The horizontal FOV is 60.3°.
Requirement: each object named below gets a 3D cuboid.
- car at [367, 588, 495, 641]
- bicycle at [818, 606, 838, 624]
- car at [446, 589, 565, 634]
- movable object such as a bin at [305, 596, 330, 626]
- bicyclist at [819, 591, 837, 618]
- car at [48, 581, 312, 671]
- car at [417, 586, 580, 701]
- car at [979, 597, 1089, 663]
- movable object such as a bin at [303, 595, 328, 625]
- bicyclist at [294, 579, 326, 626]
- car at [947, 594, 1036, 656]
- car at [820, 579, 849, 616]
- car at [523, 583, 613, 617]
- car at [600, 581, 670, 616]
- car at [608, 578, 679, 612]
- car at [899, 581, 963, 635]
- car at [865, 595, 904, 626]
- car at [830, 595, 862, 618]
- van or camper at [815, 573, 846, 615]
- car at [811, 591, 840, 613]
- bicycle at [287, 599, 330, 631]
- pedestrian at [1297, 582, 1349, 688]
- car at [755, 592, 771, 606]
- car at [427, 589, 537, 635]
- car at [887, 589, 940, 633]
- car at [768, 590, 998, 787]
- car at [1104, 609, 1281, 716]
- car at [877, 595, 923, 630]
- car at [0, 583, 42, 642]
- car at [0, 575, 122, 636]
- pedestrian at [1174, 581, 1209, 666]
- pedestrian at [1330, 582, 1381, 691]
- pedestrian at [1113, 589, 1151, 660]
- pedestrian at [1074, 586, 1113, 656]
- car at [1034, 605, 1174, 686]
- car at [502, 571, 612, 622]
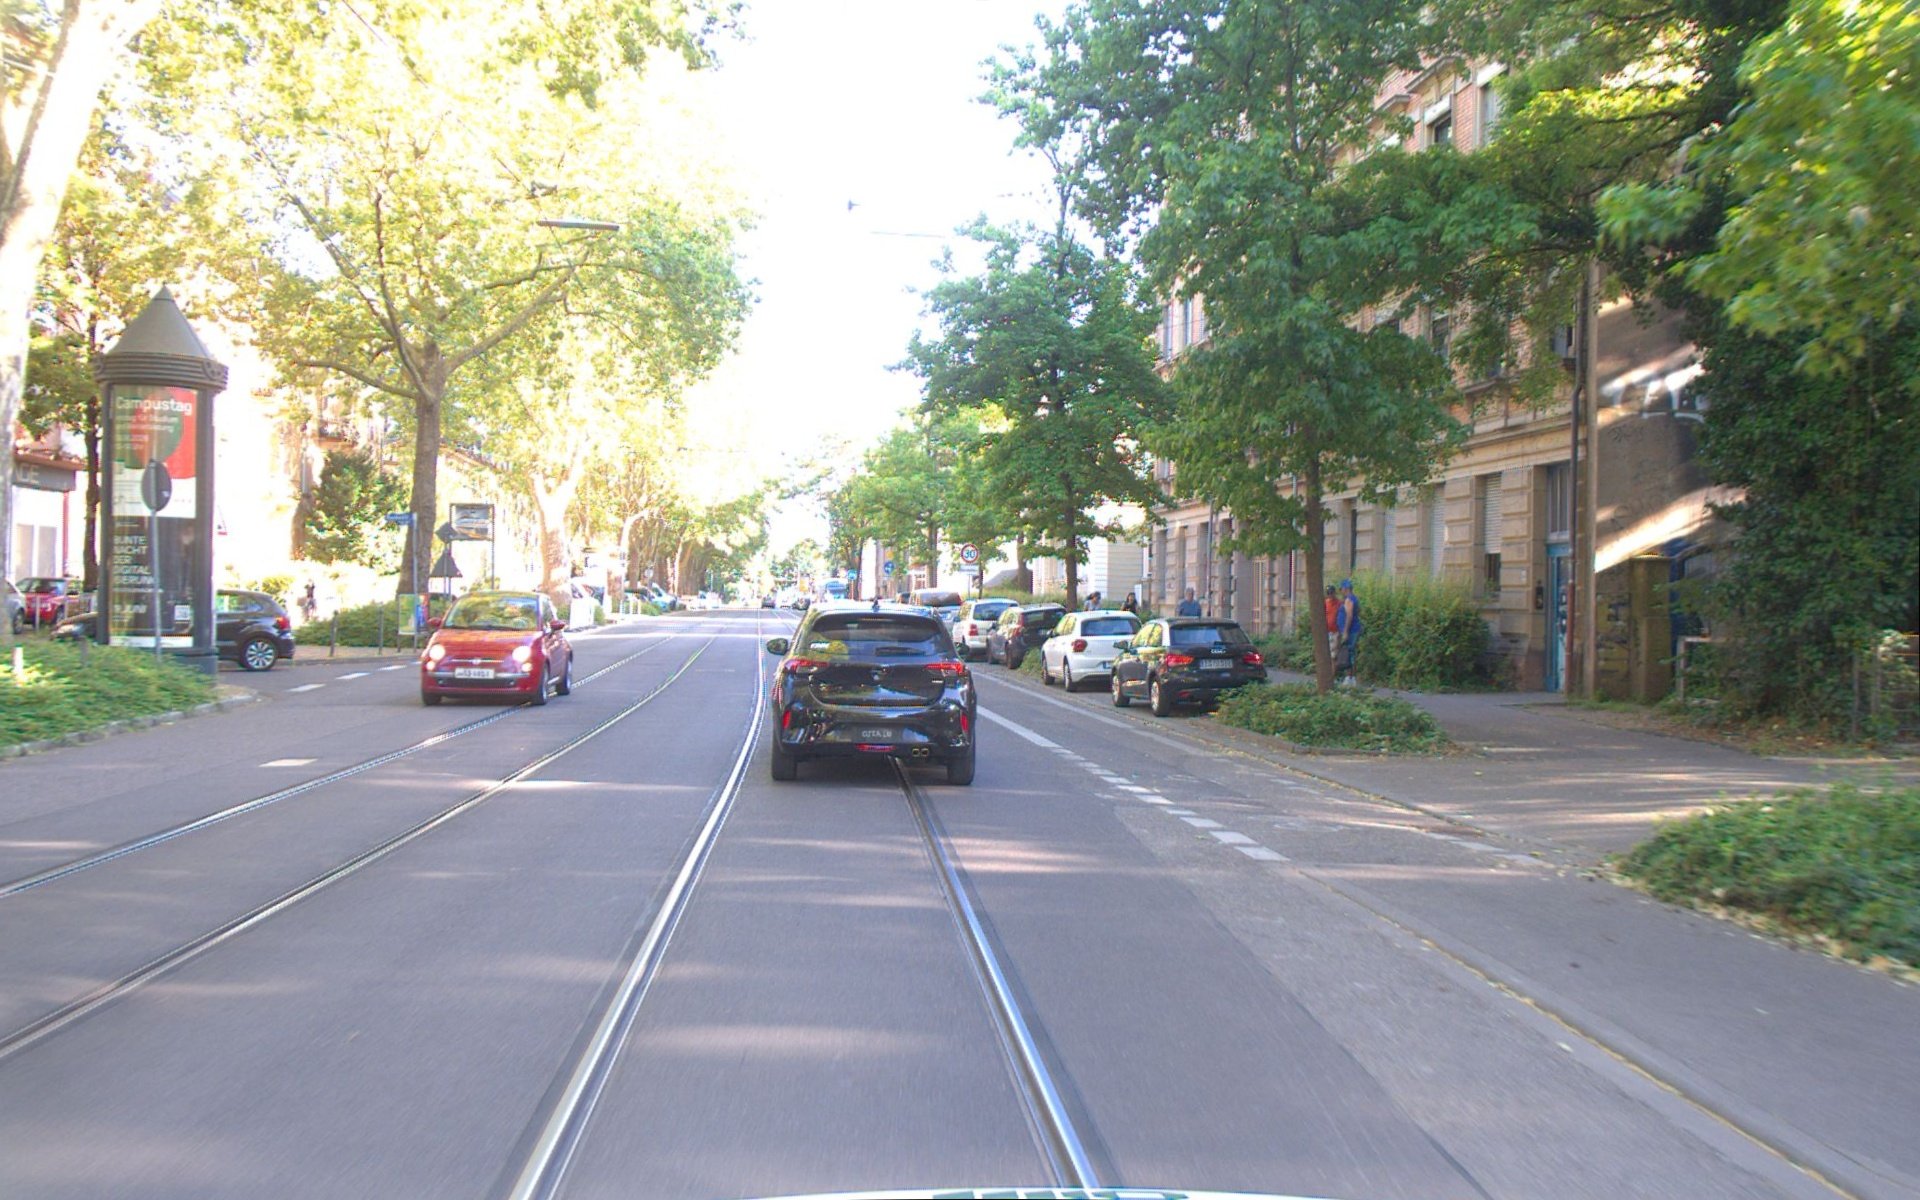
[{"bbox_3d":[-16.027,0.432,50.255,3.353,1.490,1.695,2,0,-5],"label":"car"},{"bbox_3d":[-7.765,0.887,97.094,0.950,1.016,2.578,2,0,-8],"label":"bicycle"},{"bbox_3d":[-16.591,0.416,60.551,3.912,1.490,1.851,2,0,-8],"label":"car"},{"bbox_3d":[-24.303,0.408,62.585,0.709,1.129,0.560,2,-1,-6],"label":"movable object such as a bin"},{"bbox_3d":[-7.751,0.271,97.075,0.940,1.525,1.092,2,0,-9],"label":"bicyclist"},{"bbox_3d":[-13.830,0.455,29.539,3.917,1.474,1.738,2,0,-12],"label":"car"},{"bbox_3d":[-6.348,0.565,23.087,1.629,1.469,3.468,0,0,-6],"label":"car"},{"bbox_3d":[1.779,0.714,41.163,1.849,1.492,4.584,-2,0,-9],"label":"car"},{"bbox_3d":[-24.171,0.372,62.011,0.710,1.129,0.542,2,-1,-6],"label":"movable object such as a bin"},{"bbox_3d":[-22.068,0.084,56.205,0.785,1.533,1.114,2,0,-12],"label":"bicyclist"},{"bbox_3d":[0.820,0.655,45.792,1.848,1.595,4.235,-2,0,-7],"label":"car"},{"bbox_3d":[-9.712,-0.197,127.821,2.045,2.820,4.690,0,1,-7],"label":"car"},{"bbox_3d":[-19.692,0.000,83.191,4.221,1.635,1.921,1,0,-10],"label":"car"},{"bbox_3d":[-24.576,-0.141,125.272,4.941,2.416,2.078,-3,0,-7],"label":"car"},{"bbox_3d":[-26.338,-0.390,137.846,5.527,2.638,2.194,2,0,-4],"label":"car"},{"bbox_3d":[-1.121,0.279,61.492,1.848,1.883,4.959,-2,0,-7],"label":"car"},{"bbox_3d":[-3.887,0.536,84.873,1.670,1.448,3.972,-3,0,-7],"label":"car"},{"bbox_3d":[-7.654,0.454,110.598,1.848,1.459,4.523,-2,0,-7],"label":"car"},{"bbox_3d":[-10.526,-0.477,134.325,2.211,3.272,5.522,0,0,-7],"label":"van or camper"},{"bbox_3d":[-11.497,0.150,141.445,2.211,1.873,5.522,0,0,-7],"label":"car"},{"bbox_3d":[-22.035,0.502,56.004,0.951,1.016,2.574,2,0,-13],"label":"bicycle"},{"bbox_3d":[6.343,0.608,28.911,0.712,1.824,0.599,1,-1,30],"label":"pedestrian"},{"bbox_3d":[-27.471,-0.145,230.198,2.211,1.873,5.522,0,0,-7],"label":"car"},{"bbox_3d":[-16.643,0.420,57.677,3.353,1.490,1.757,2,0,-5],"label":"car"},{"bbox_3d":[-2.017,0.449,70.375,1.850,1.797,4.671,0,0,-7],"label":"car"},{"bbox_3d":[-0.810,0.691,14.716,1.730,1.486,3.944,2,0,-7],"label":"car"},{"bbox_3d":[3.471,0.897,25.373,1.642,1.437,3.835,-2,0,-8],"label":"car"},{"bbox_3d":[-2.782,0.568,76.106,1.680,1.540,4.029,-1,0,-8],"label":"car"},{"bbox_3d":[-24.067,0.273,39.939,1.910,1.432,3.887,2,0,-7],"label":"car"},{"bbox_3d":[-24.323,0.144,44.403,1.910,1.513,3.994,2,0,-7],"label":"car"},{"bbox_3d":[5.078,0.522,36.210,0.710,1.824,0.601,1,-1,8],"label":"pedestrian"},{"bbox_3d":[6.762,0.619,28.296,0.587,1.824,0.727,2,-1,-10],"label":"pedestrian"},{"bbox_3d":[4.311,0.601,41.534,0.712,1.739,0.854,2,-1,-9],"label":"pedestrian"},{"bbox_3d":[3.336,0.519,41.385,0.712,1.722,0.955,2,-1,-9],"label":"pedestrian"},{"bbox_3d":[2.685,0.827,31.859,1.848,1.392,4.100,-2,0,-7],"label":"car"},{"bbox_3d":[-19.410,-0.168,79.841,4.942,2.299,2.080,2,0,-11],"label":"car"}]
